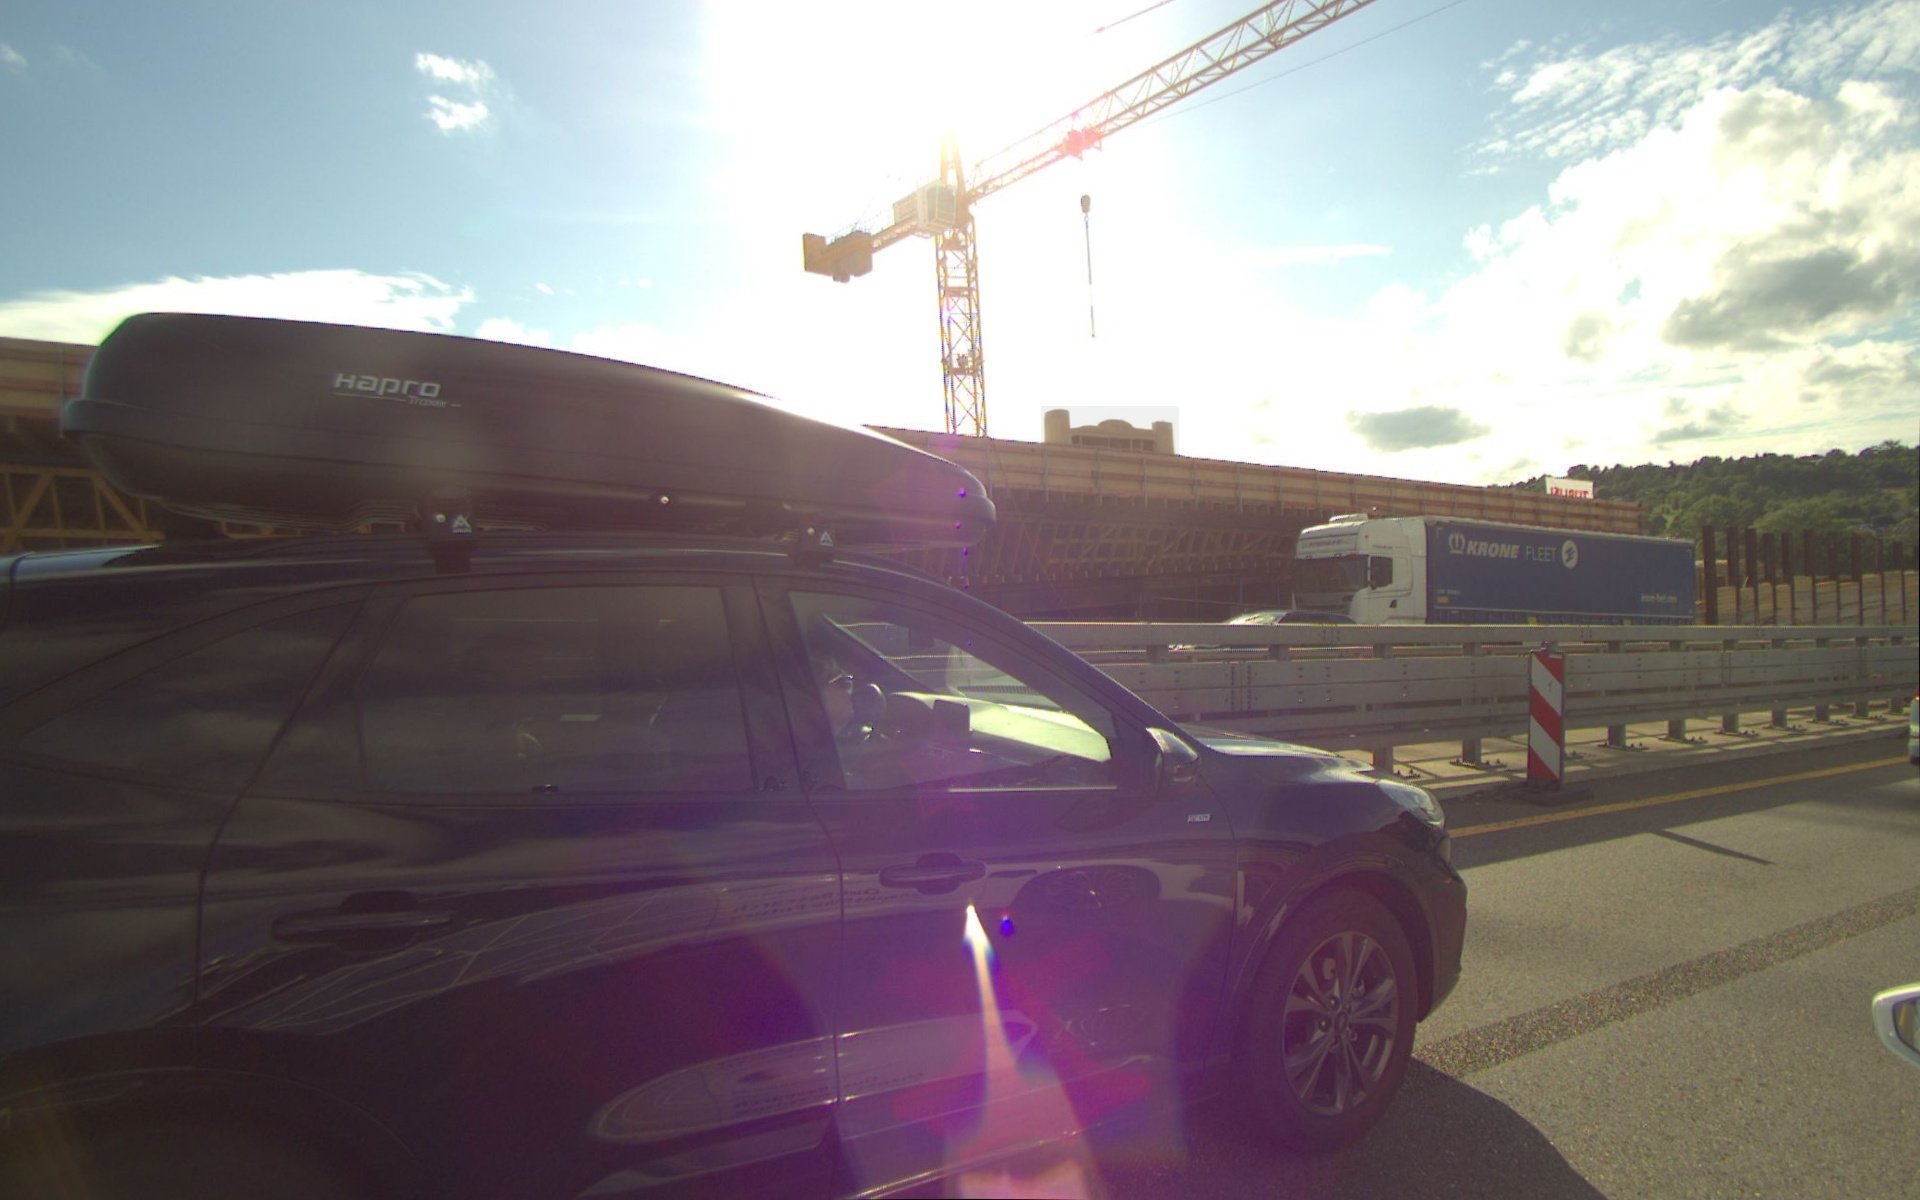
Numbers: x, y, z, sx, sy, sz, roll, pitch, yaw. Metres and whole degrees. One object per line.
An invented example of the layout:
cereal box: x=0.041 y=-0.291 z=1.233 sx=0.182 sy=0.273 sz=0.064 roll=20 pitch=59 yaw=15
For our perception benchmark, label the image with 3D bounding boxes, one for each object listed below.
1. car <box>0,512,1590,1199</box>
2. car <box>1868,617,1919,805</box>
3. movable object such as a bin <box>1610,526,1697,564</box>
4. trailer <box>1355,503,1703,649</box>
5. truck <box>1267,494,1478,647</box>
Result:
car: x=-0.419 y=0.687 z=2.761 sx=4.333 sy=1.563 sz=1.791 roll=2 pitch=1 yaw=-30
car: x=9.920 y=0.904 z=8.677 sx=4.462 sy=1.511 sz=1.762 roll=1 pitch=-1 yaw=-29
movable object such as a bin: x=70.229 y=-5.507 z=101.814 sx=4.438 sy=3.314 sz=5.743 roll=2 pitch=0 yaw=-17
trailer: x=17.595 y=-0.461 z=30.405 sx=13.372 sy=3.715 sz=2.848 roll=2 pitch=0 yaw=-31
truck: x=10.986 y=-0.668 z=26.737 sx=4.753 sy=3.677 sz=2.829 roll=2 pitch=0 yaw=-30
